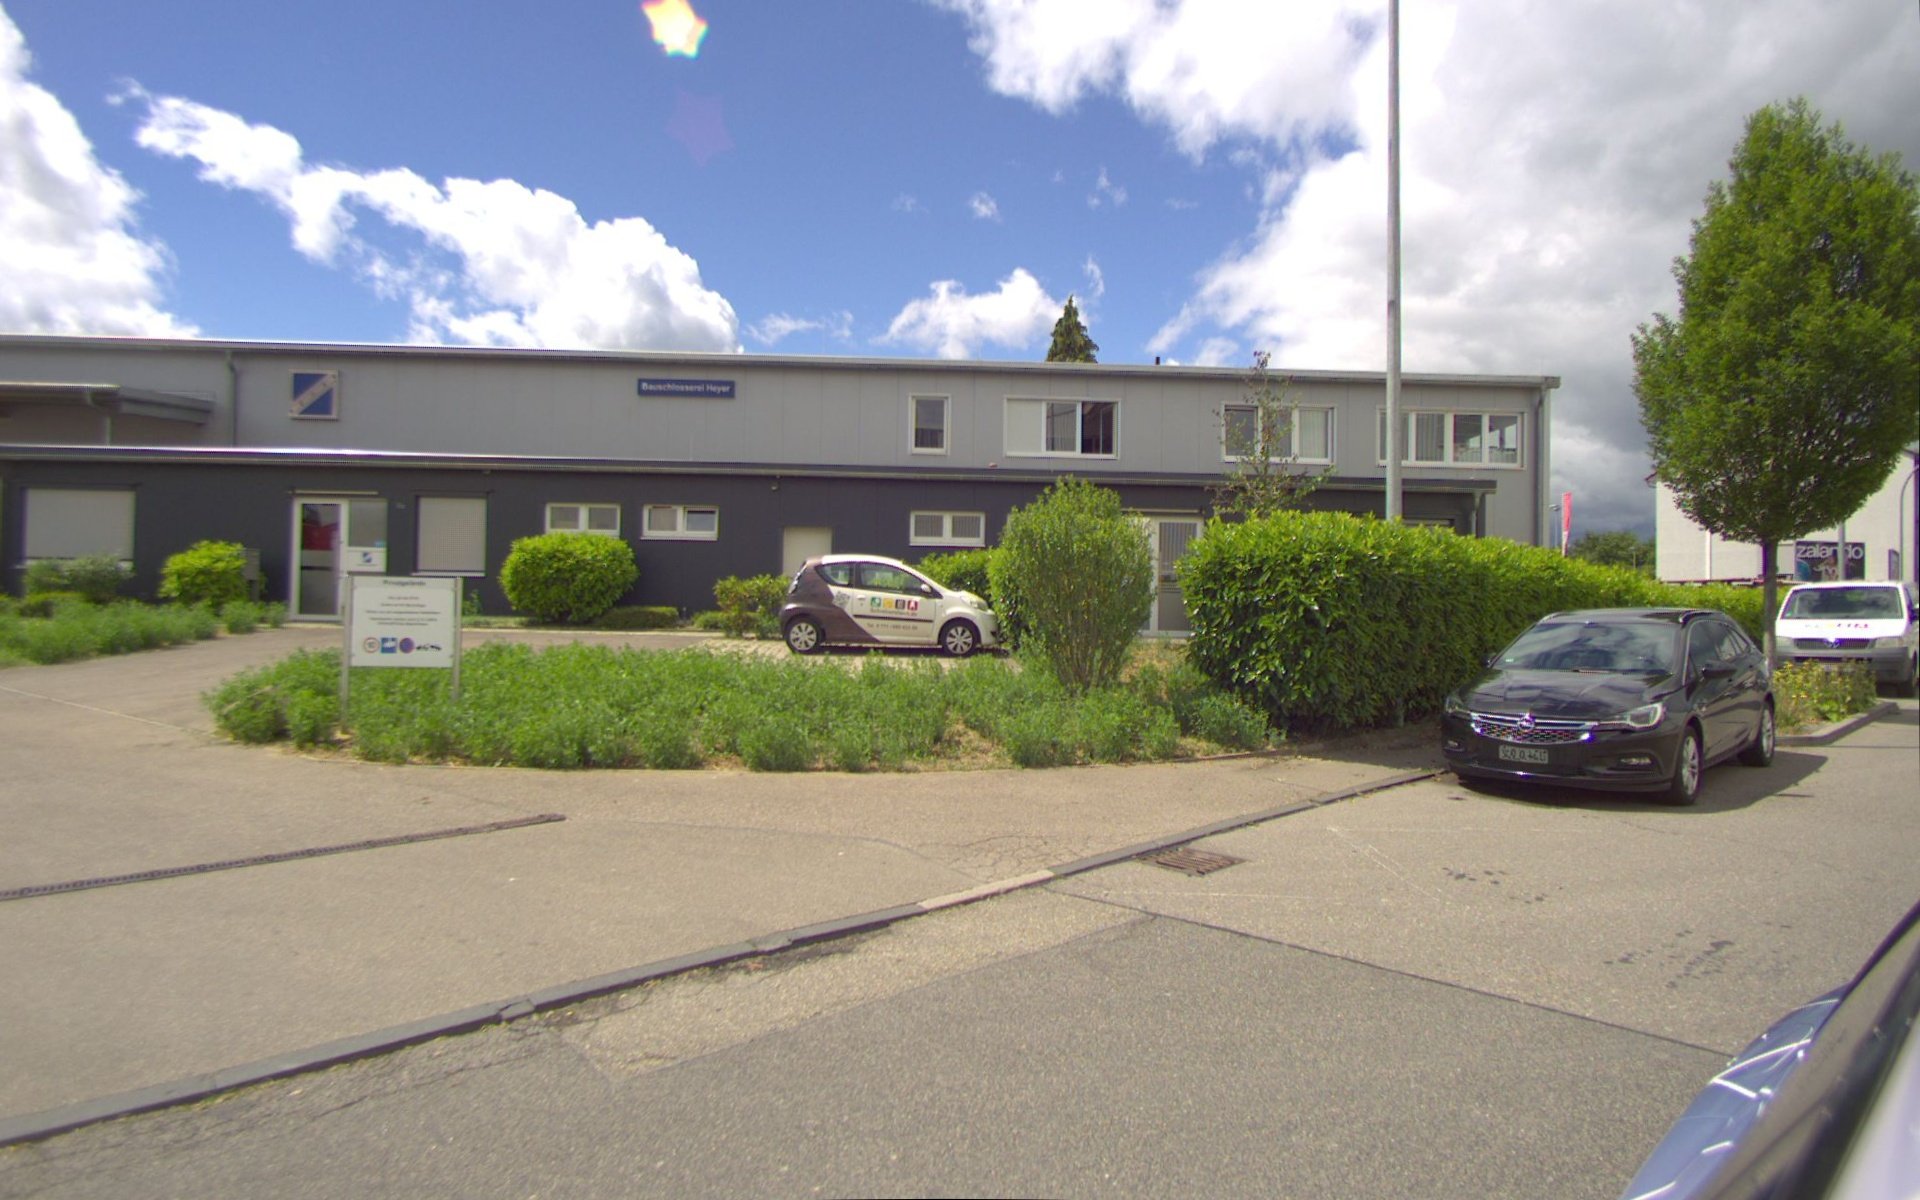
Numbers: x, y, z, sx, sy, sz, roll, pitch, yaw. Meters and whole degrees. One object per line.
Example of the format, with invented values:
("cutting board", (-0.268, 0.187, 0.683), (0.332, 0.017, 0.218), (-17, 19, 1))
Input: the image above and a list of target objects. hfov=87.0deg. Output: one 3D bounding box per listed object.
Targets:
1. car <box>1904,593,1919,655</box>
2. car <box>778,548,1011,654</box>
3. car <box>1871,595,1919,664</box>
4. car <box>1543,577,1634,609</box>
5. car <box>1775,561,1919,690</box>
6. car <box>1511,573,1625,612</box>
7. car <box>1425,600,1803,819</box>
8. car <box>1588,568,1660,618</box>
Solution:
("car", (27.694, 0.628, 28.059), (4.048, 1.659, 1.683), (0, 0, -39))
("car", (-0.987, -0.017, 15.522), (3.353, 1.465, 1.584), (1, 2, -2))
("car", (23.566, 0.667, 24.532), (4.651, 1.559, 1.658), (0, 0, -41))
("car", (42.990, -0.463, 69.287), (1.966, 2.060, 4.958), (-2, 1, -41))
("car", (16.372, 0.381, 18.159), (5.054, 2.015, 1.872), (0, 0, -41))
("car", (40.638, -0.505, 67.728), (2.238, 2.482, 6.166), (-2, 1, -44))
("car", (6.068, 0.762, 9.166), (4.432, 1.492, 1.717), (0, 0, -41))
("car", (39.727, -0.479, 60.499), (5.363, 2.802, 2.279), (-2, 1, -42))
